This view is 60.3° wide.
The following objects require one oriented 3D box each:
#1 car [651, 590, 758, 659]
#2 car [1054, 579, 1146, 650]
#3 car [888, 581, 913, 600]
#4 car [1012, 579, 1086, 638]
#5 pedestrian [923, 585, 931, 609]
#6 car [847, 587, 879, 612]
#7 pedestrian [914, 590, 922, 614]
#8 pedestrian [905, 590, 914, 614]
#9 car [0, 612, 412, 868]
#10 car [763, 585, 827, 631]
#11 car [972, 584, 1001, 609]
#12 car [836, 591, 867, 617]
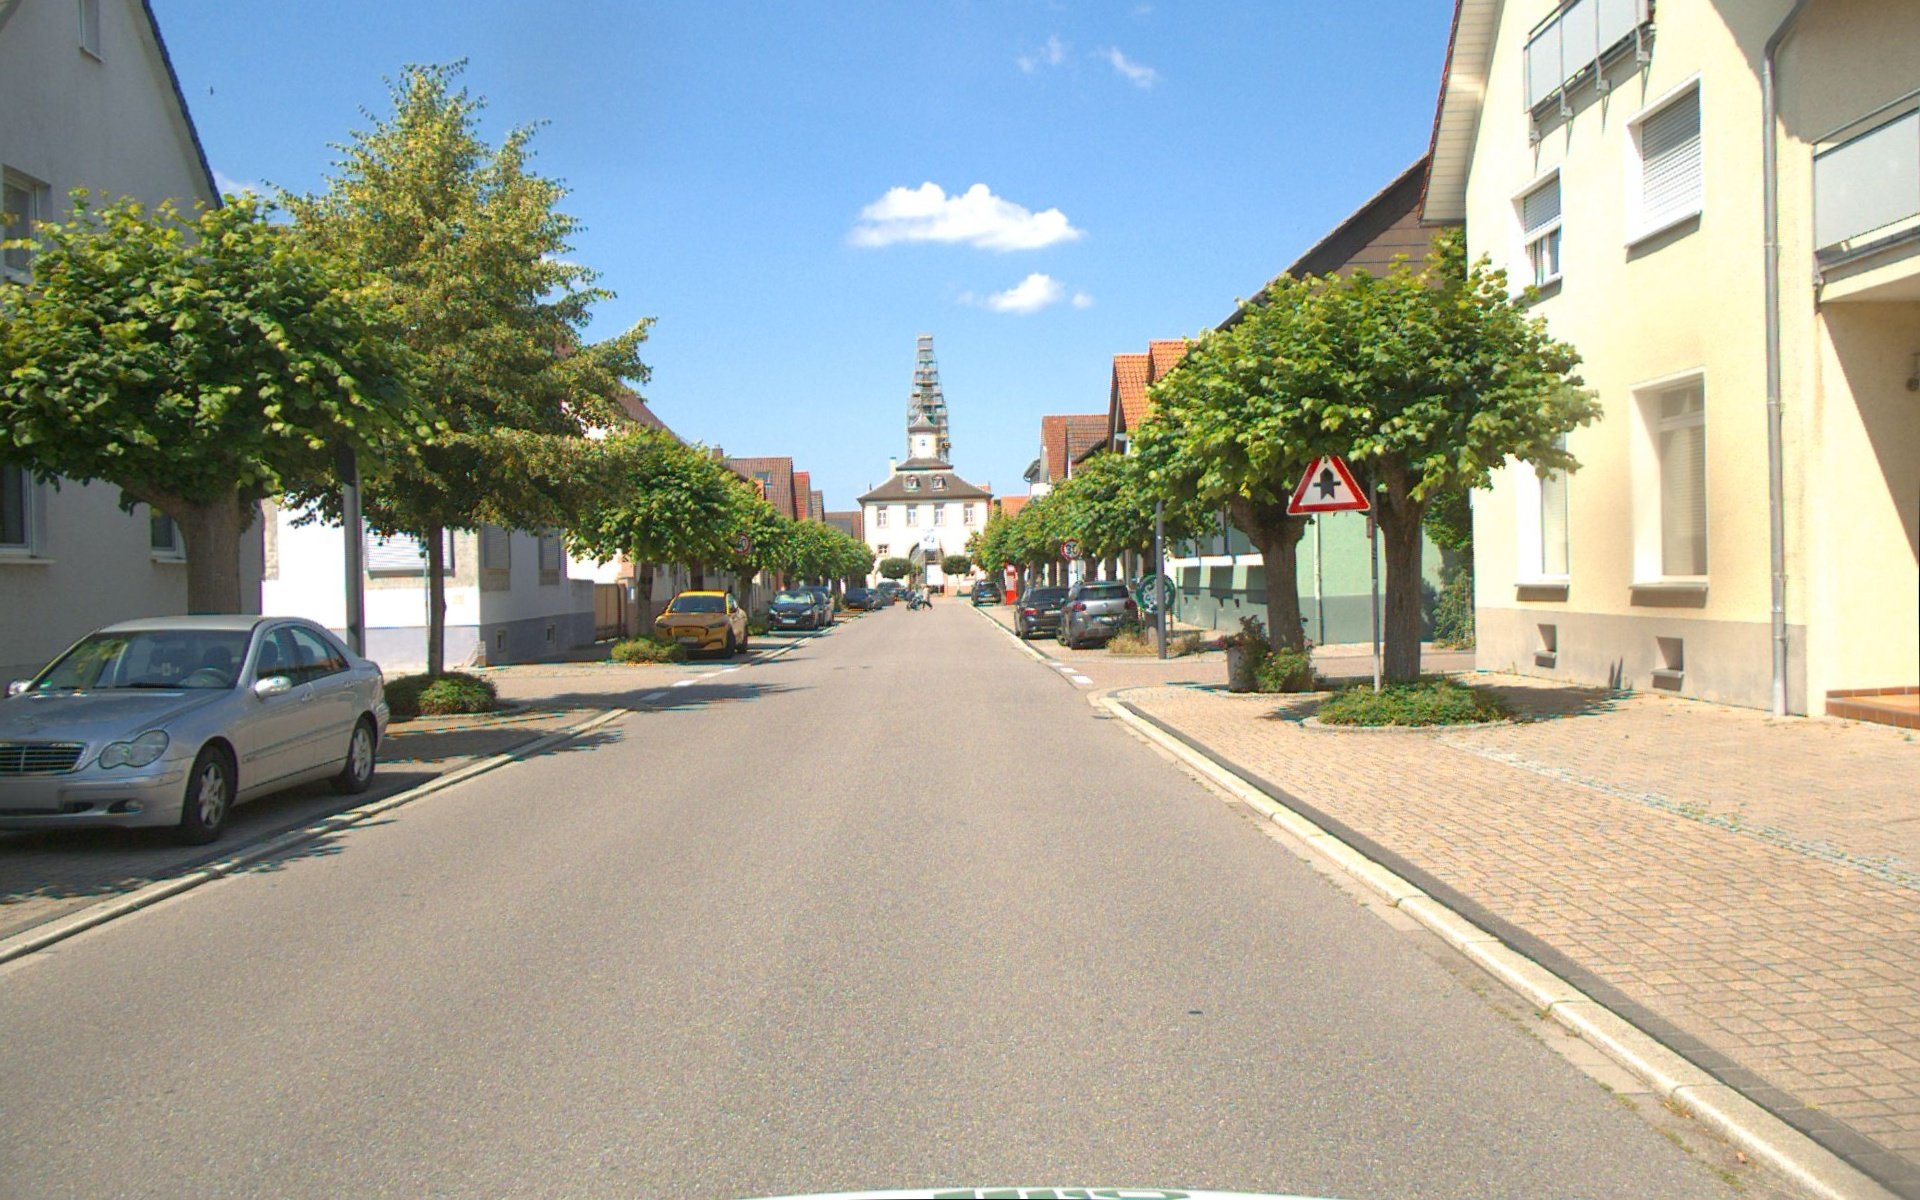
[{"bbox_3d":[-6.342,0.564,41.610,1.953,1.639,4.689,0,0,0],"label":"car"},{"bbox_3d":[3.450,0.332,41.371,1.800,1.636,3.998,-1,0,-2],"label":"car"},{"bbox_3d":[-5.293,-0.840,146.050,1.955,1.639,4.501,0,0,-5],"label":"car"},{"bbox_3d":[2.576,0.218,48.952,1.800,1.582,4.312,-3,0,-1],"label":"car"},{"bbox_3d":[-1.930,-0.186,97.210,0.351,1.427,0.319,-2,0,36],"label":"pedestrian"},{"bbox_3d":[-6.531,-0.046,111.782,1.953,1.639,3.855,0,0,0],"label":"car"},{"bbox_3d":[-2.479,0.137,98.101,0.351,1.427,0.319,-2,0,36],"label":"pedestrian"},{"bbox_3d":[-2.989,0.133,97.772,0.351,1.427,0.319,-2,0,36],"label":"pedestrian"},{"bbox_3d":[-5.516,0.833,11.836,1.803,1.420,4.405,-1,0,-1],"label":"car"},{"bbox_3d":[-6.222,0.257,62.848,1.953,1.639,4.689,0,1,0],"label":"car"},{"bbox_3d":[1.743,-0.262,111.763,1.800,1.582,4.313,-3,0,0],"label":"car"},{"bbox_3d":[-6.941,0.244,106.031,1.722,1.582,4.020,-1,0,0],"label":"car"}]
